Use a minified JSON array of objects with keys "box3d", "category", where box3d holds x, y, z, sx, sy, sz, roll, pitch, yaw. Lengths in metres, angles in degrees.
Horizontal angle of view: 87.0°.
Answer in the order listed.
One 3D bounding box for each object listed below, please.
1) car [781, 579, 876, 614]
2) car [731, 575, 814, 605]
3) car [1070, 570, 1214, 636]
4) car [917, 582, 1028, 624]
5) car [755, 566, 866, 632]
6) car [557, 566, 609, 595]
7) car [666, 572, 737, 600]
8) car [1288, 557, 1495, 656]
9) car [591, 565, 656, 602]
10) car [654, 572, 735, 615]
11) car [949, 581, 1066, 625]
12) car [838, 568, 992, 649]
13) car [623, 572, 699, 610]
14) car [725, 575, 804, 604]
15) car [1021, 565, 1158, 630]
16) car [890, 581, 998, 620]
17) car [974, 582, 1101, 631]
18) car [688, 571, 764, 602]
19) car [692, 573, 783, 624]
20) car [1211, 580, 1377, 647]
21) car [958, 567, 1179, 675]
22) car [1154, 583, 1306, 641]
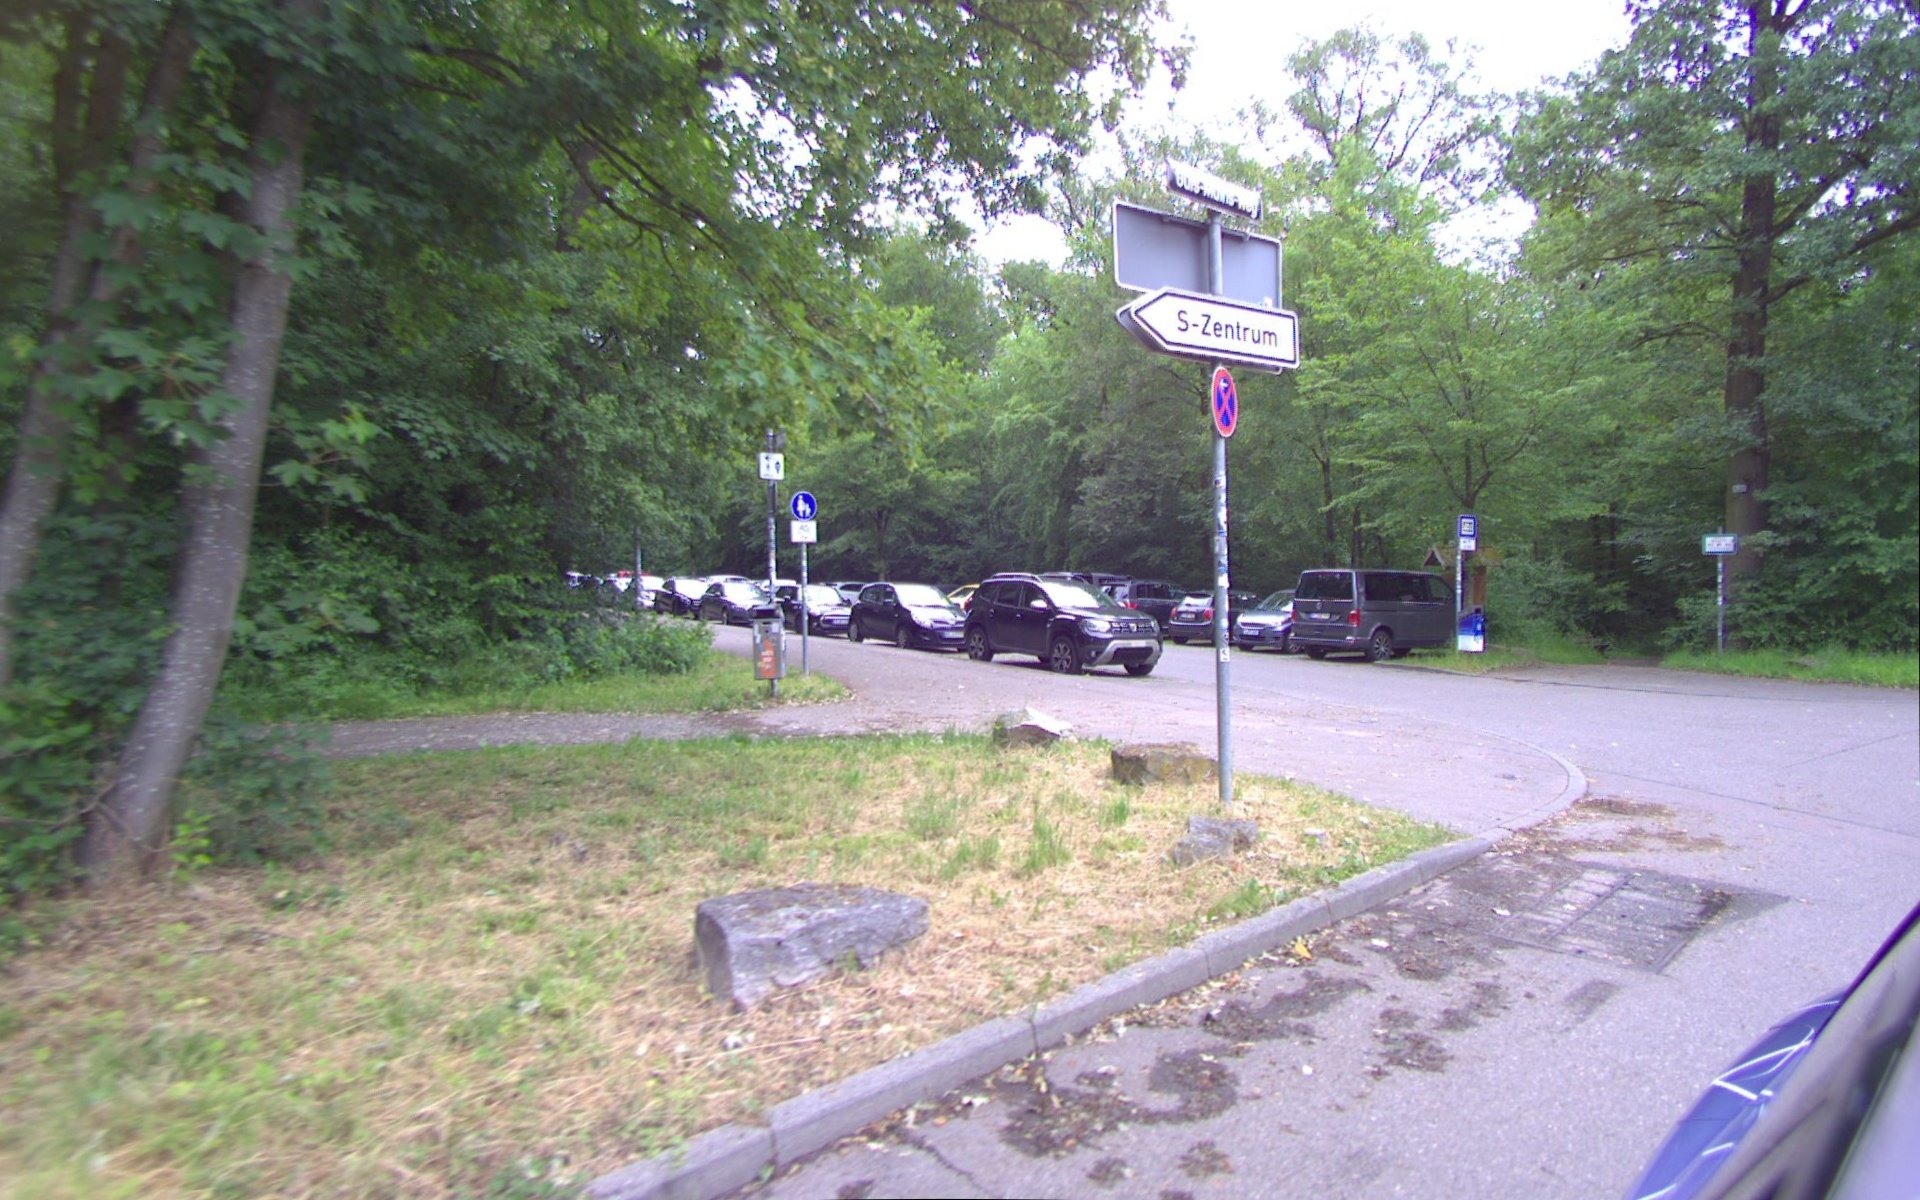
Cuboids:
[{"box3d":[-5.902,-0.176,45.585,3.922,1.485,1.716,0,1,-33],"category":"car"},{"box3d":[-9.756,-0.526,52.653,3.920,1.453,1.679,1,1,-30],"category":"car"},{"box3d":[5.277,0.042,29.171,3.923,1.787,1.825,-1,1,-34],"category":"car"},{"box3d":[0.489,0.072,37.818,3.922,1.456,1.619,-1,1,-32],"category":"car"},{"box3d":[-4.205,-0.081,27.855,1.706,1.653,4.382,0,1,-27],"category":"car"},{"box3d":[-19.927,-1.036,53.399,1.708,1.443,4.156,0,1,-33],"category":"car"},{"box3d":[-16.150,-0.867,63.202,3.921,1.683,1.816,1,1,-32],"category":"car"},{"box3d":[9.578,0.136,22.406,4.426,2.003,1.893,1,0,-30],"category":"car"},{"box3d":[-15.217,-0.761,45.623,1.708,1.609,4.384,0,1,-33],"category":"car"},{"box3d":[-9.758,-0.277,36.945,1.707,1.450,4.506,0,1,-31],"category":"car"},{"box3d":[1.710,0.113,35.764,3.923,1.456,1.672,1,1,-35],"category":"car"},{"box3d":[-1.111,0.122,22.872,1.779,1.653,4.003,0,1,-31],"category":"car"},{"box3d":[-12.183,-0.401,41.055,1.708,1.450,4.504,0,1,-33],"category":"car"},{"box3d":[-10.588,-0.564,54.877,3.920,1.453,1.650,1,1,-31],"category":"car"},{"box3d":[4.017,-0.076,31.259,3.921,1.886,1.815,1,1,-32],"category":"car"},{"box3d":[-0.623,-0.016,39.863,3.922,1.456,1.735,-1,1,-32],"category":"car"},{"box3d":[2.575,0.174,33.193,3.923,1.494,1.780,-1,1,-34],"category":"car"},{"box3d":[-13.638,-0.779,59.094,3.922,1.683,1.815,1,1,-34],"category":"car"},{"box3d":[-7.278,-0.097,32.805,1.707,1.513,4.239,0,1,-30],"category":"car"},{"box3d":[8.209,0.324,24.818,3.750,1.531,1.811,1,0,-30],"category":"car"},{"box3d":[1.758,0.273,17.659,1.779,1.653,4.003,0,1,-31],"category":"car"},{"box3d":[7.266,0.266,27.154,3.921,1.448,1.722,-1,1,-31],"category":"car"}]
